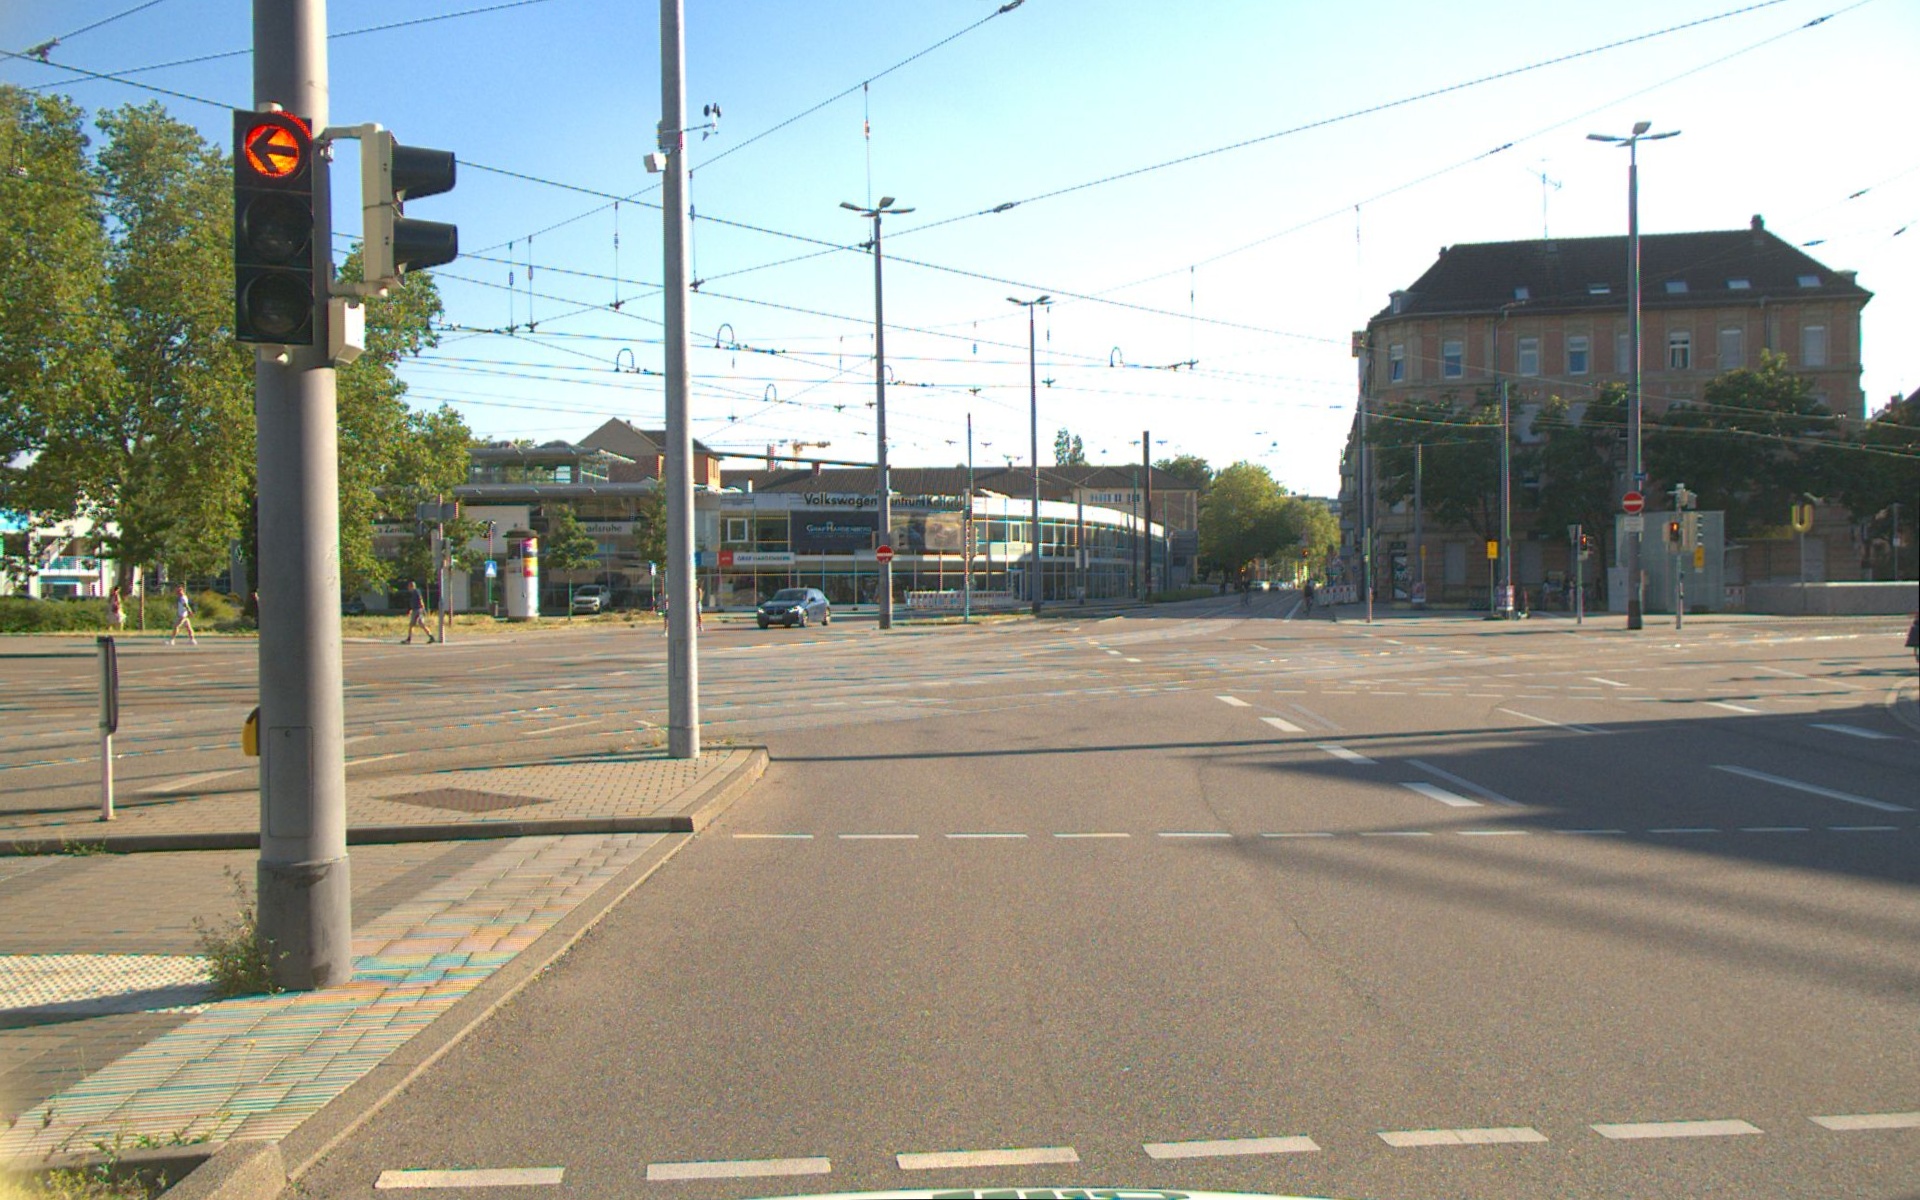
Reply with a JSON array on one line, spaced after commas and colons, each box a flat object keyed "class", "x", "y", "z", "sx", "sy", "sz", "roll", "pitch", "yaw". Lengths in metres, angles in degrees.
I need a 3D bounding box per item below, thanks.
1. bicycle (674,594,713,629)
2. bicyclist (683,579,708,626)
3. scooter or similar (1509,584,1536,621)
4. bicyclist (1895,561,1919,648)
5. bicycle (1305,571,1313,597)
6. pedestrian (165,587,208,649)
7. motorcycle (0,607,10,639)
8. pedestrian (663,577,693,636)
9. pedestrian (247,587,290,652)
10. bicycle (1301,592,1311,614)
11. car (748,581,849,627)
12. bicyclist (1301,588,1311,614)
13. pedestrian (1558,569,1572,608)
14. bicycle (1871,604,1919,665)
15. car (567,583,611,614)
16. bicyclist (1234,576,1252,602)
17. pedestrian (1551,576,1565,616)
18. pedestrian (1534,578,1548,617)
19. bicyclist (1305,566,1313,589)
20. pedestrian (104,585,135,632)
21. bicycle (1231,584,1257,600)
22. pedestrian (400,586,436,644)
[{"class": "bicycle", "x": -9.585, "y": 0.408, "z": 59.490, "sx": 0.599, "sy": 1.210, "sz": 1.870, "roll": 1, "pitch": 0, "yaw": 17}, {"class": "bicyclist", "x": -9.537, "y": 0.094, "z": 59.637, "sx": 0.585, "sy": 1.644, "sz": 0.823, "roll": 1, "pitch": -1, "yaw": 16}, {"class": "scooter or similar", "x": 21.587, "y": 0.097, "z": 63.476, "sx": 0.769, "sy": 1.400, "sz": 1.910, "roll": 1, "pitch": 0, "yaw": 13}, {"class": "bicyclist", "x": 17.649, "y": 0.087, "z": 30.212, "sx": 0.505, "sy": 1.584, "sz": 0.945, "roll": 1, "pitch": 0, "yaw": -9}, {"class": "bicycle", "x": 28.549, "y": -1.325, "z": 135.344, "sx": 0.604, "sy": 2.049, "sz": 2.402, "roll": 1, "pitch": 0, "yaw": 13}, {"class": "pedestrian", "x": -22.167, "y": 0.517, "z": 47.409, "sx": 0.777, "sy": 1.736, "sz": 0.759, "roll": 1, "pitch": -1, "yaw": 6}, {"class": "motorcycle", "x": -28.927, "y": 0.668, "z": 48.507, "sx": 1.748, "sy": 0.930, "sz": 0.675, "roll": 1, "pitch": 0, "yaw": -21}, {"class": "pedestrian", "x": -9.267, "y": 0.200, "z": 54.412, "sx": 0.777, "sy": 1.919, "sz": 0.759, "roll": 1, "pitch": -1, "yaw": 6}, {"class": "pedestrian", "x": -18.857, "y": 0.525, "z": 45.092, "sx": 0.777, "sy": 1.736, "sz": 0.759, "roll": 1, "pitch": -1, "yaw": 6}, {"class": "bicycle", "x": 15.426, "y": 0.146, "z": 73.743, "sx": 0.401, "sy": 0.958, "sz": 1.847, "roll": 1, "pitch": 0, "yaw": 12}, {"class": "car", "x": -5.993, "y": 0.164, "z": 61.727, "sx": 1.954, "sy": 1.613, "sz": 3.996, "roll": 1, "pitch": 0, "yaw": 26}, {"class": "bicyclist", "x": 15.433, "y": 0.039, "z": 73.743, "sx": 0.399, "sy": 1.136, "sz": 0.399, "roll": 1, "pitch": -1, "yaw": 11}, {"class": "pedestrian", "x": 31.657, "y": -0.612, "z": 86.548, "sx": 0.589, "sy": 2.049, "sz": 0.647, "roll": -1, "pitch": 0, "yaw": 14}, {"class": "bicycle", "x": 17.659, "y": 0.649, "z": 30.133, "sx": 0.524, "sy": 1.067, "sz": 2.316, "roll": 1, "pitch": 1, "yaw": -9}, {"class": "car", "x": -22.193, "y": -0.097, "z": 99.031, "sx": 1.954, "sy": 1.780, "sz": 3.997, "roll": 1, "pitch": 0, "yaw": -4}, {"class": "bicyclist", "x": 17.424, "y": -0.687, "z": 101.728, "sx": 0.765, "sy": 1.604, "sz": 0.752, "roll": 1, "pitch": -1, "yaw": -35}, {"class": "pedestrian", "x": 30.910, "y": -0.210, "z": 85.500, "sx": 0.589, "sy": 2.049, "sz": 0.647, "roll": -1, "pitch": 0, "yaw": 14}, {"class": "pedestrian", "x": 30.390, "y": -0.140, "z": 86.481, "sx": 0.589, "sy": 2.049, "sz": 0.647, "roll": -1, "pitch": 0, "yaw": 14}, {"class": "bicyclist", "x": 28.554, "y": -1.854, "z": 135.196, "sx": 0.586, "sy": 1.840, "sz": 0.828, "roll": 1, "pitch": -1, "yaw": 12}, {"class": "pedestrian", "x": -31.251, "y": 0.316, "z": 61.509, "sx": 0.839, "sy": 1.723, "sz": 0.496, "roll": 1, "pitch": -1, "yaw": -3}, {"class": "bicycle", "x": 17.472, "y": -0.520, "z": 101.699, "sx": 0.652, "sy": 0.969, "sz": 1.580, "roll": 1, "pitch": 0, "yaw": -35}, {"class": "pedestrian", "x": -16.475, "y": 0.463, "z": 50.300, "sx": 0.777, "sy": 1.736, "sz": 0.759, "roll": 1, "pitch": -1, "yaw": 6}]
